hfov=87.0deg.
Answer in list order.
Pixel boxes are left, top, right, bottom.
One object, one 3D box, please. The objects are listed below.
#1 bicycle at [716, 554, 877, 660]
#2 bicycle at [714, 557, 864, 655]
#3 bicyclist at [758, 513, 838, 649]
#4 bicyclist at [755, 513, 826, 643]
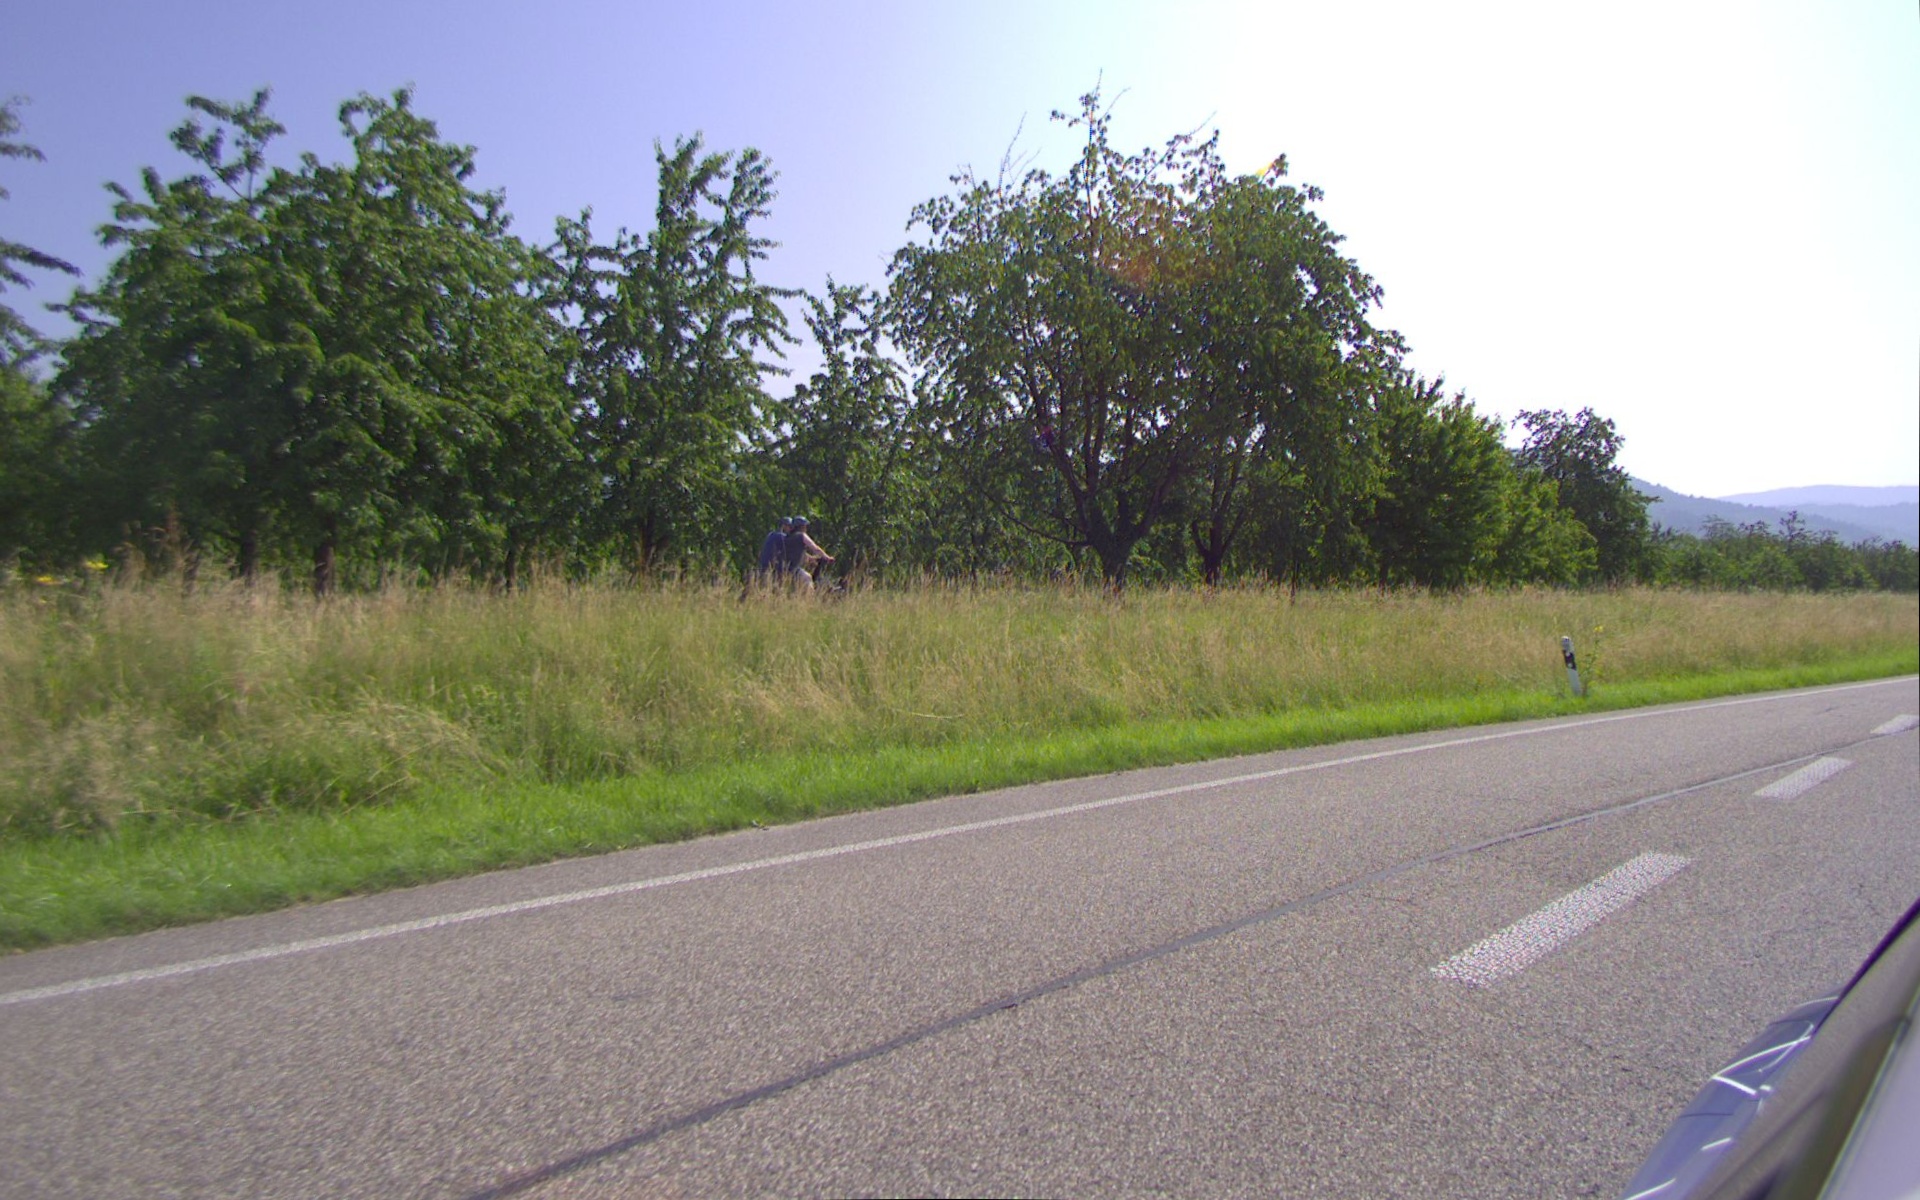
[{"bbox_3d":[-2.339,0.091,14.651,2.180,1.436,0.752,0,1,-37],"label":"bicycle"},{"bbox_3d":[-2.641,0.077,15.753,2.180,1.436,0.752,0,1,-37],"label":"bicycle"},{"bbox_3d":[-2.345,-0.269,14.634,0.853,1.890,0.752,1,1,-37],"label":"bicyclist"},{"bbox_3d":[-2.639,-0.338,15.744,0.812,1.953,0.752,1,1,-37],"label":"bicyclist"}]
